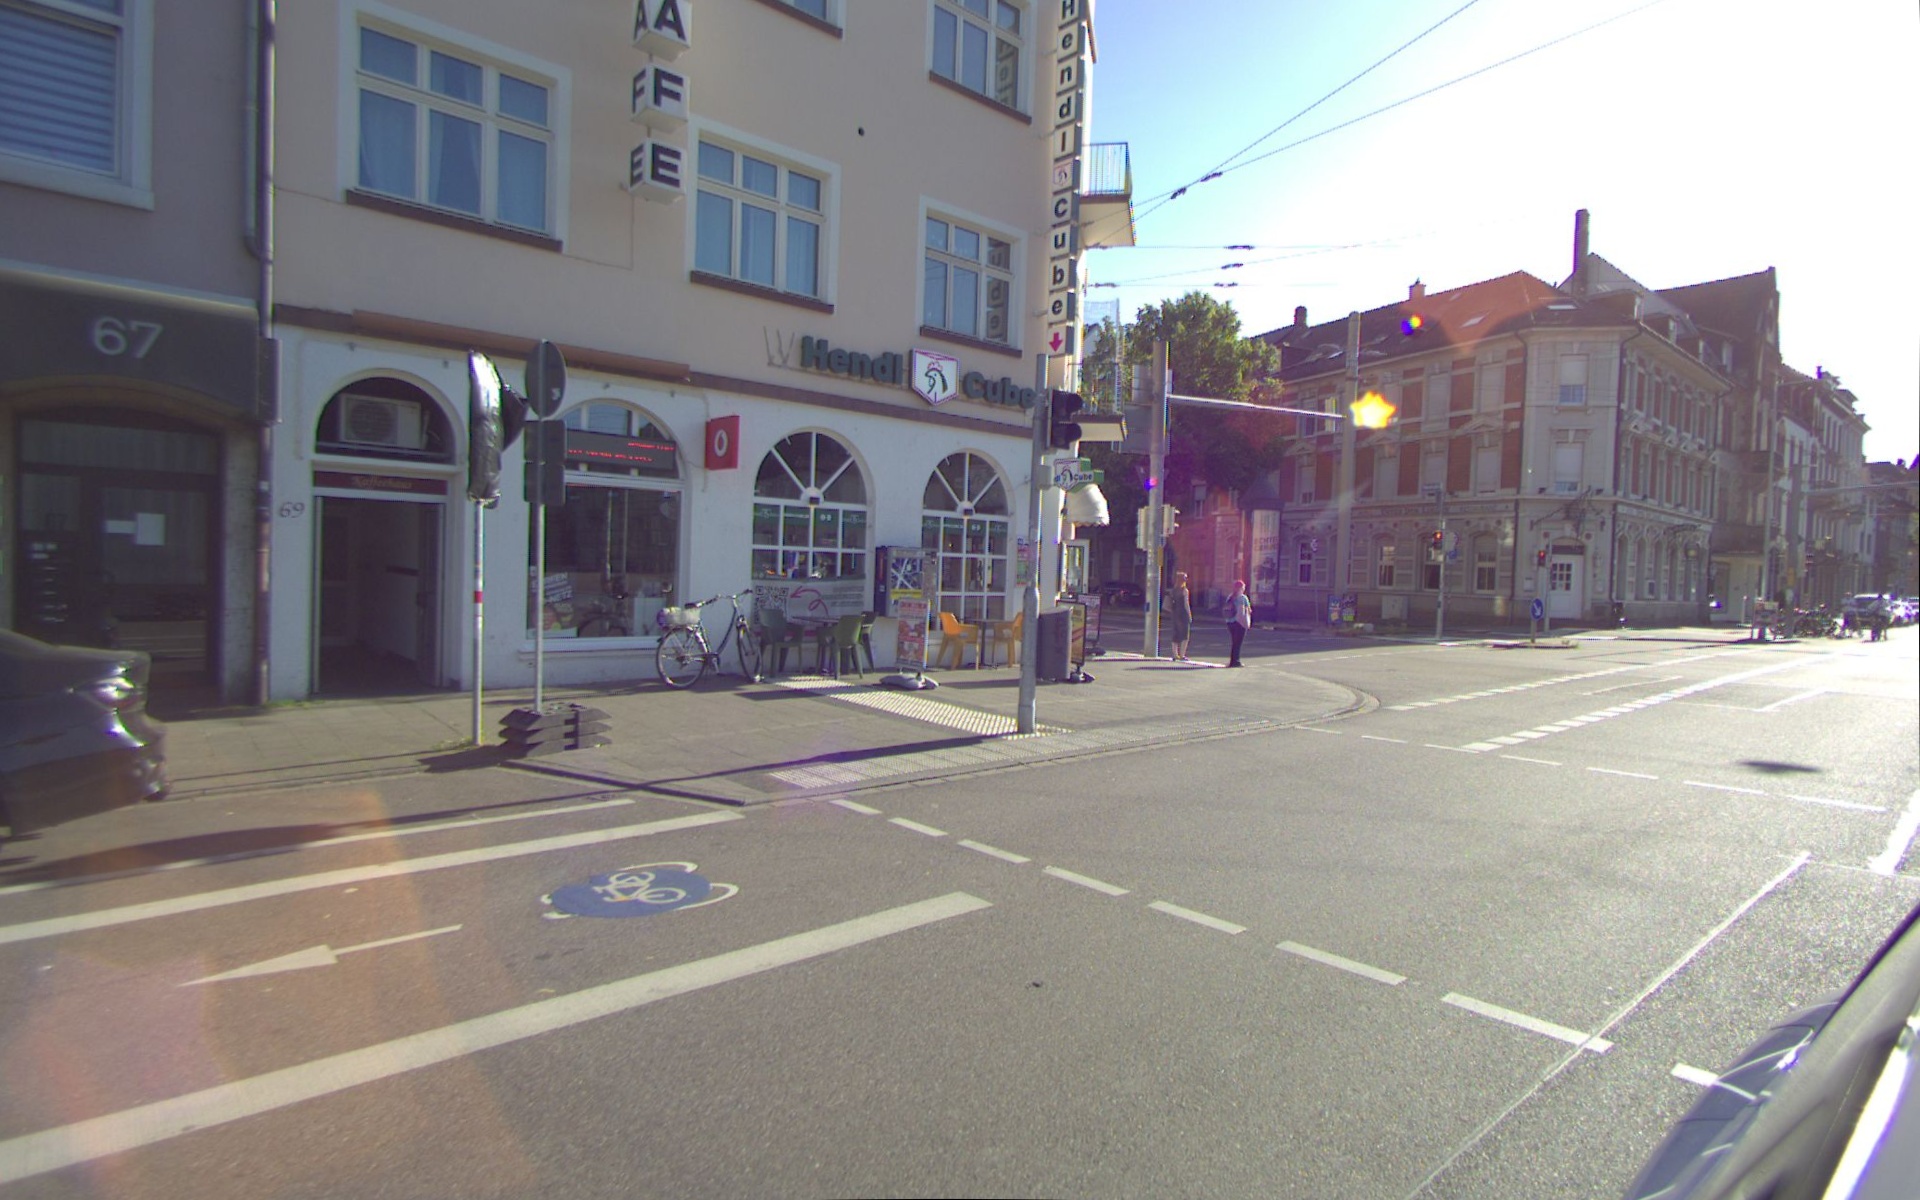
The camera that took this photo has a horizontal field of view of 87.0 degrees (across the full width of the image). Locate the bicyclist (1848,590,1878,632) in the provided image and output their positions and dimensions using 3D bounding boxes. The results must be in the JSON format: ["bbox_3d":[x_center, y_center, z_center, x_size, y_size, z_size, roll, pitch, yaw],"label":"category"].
[{"bbox_3d":[36.184,0.434,40.554,0.731,1.625,0.697,0,2,-37],"label":"bicyclist"}]

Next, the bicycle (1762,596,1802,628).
[{"bbox_3d":[33.292,0.463,40.962,2.255,1.230,0.693,0,2,-37],"label":"bicycle"}]

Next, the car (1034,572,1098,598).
[{"bbox_3d":[6.541,-0.955,62.947,1.958,1.510,4.281,1,2,-25],"label":"car"}]

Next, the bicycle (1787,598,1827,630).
[{"bbox_3d":[33.750,0.553,40.297,2.255,1.230,0.693,0,2,-37],"label":"bicycle"}]

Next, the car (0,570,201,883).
[{"bbox_3d":[-6.227,0.581,4.303,4.637,1.447,1.901,0,1,-43],"label":"car"}]

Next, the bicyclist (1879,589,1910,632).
[{"bbox_3d":[35.681,0.392,38.645,0.731,1.625,0.697,0,2,-37],"label":"bicyclist"}]

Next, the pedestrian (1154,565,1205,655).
[{"bbox_3d":[4.286,0.179,19.763,0.665,1.711,0.663,0,2,-42],"label":"pedestrian"}]

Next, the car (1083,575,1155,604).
[{"bbox_3d":[9.005,-0.605,57.615,1.958,1.510,4.282,1,2,-24],"label":"car"}]

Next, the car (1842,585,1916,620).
[{"bbox_3d":[49.824,0.091,54.849,4.511,1.748,2.295,0,2,-39],"label":"car"}]

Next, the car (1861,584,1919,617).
[{"bbox_3d":[54.508,0.025,58.777,4.508,1.748,2.297,0,2,-36],"label":"car"}]

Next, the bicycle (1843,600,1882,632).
[{"bbox_3d":[36.205,0.643,40.579,2.255,1.230,0.693,0,2,-37],"label":"bicycle"}]

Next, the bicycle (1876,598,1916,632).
[{"bbox_3d":[35.549,0.563,38.414,2.255,1.230,0.693,0,2,-37],"label":"bicycle"}]

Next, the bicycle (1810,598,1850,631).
[{"bbox_3d":[34.040,0.553,39.580,2.255,1.230,0.693,0,2,-37],"label":"bicycle"}]

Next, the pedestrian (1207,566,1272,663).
[{"bbox_3d":[5.072,0.259,18.376,0.786,1.711,0.774,3,-1,-42],"label":"pedestrian"}]

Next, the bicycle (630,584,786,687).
[{"bbox_3d":[-2.999,0.385,12.219,0.692,1.122,1.843,2,2,34],"label":"bicycle"}]
